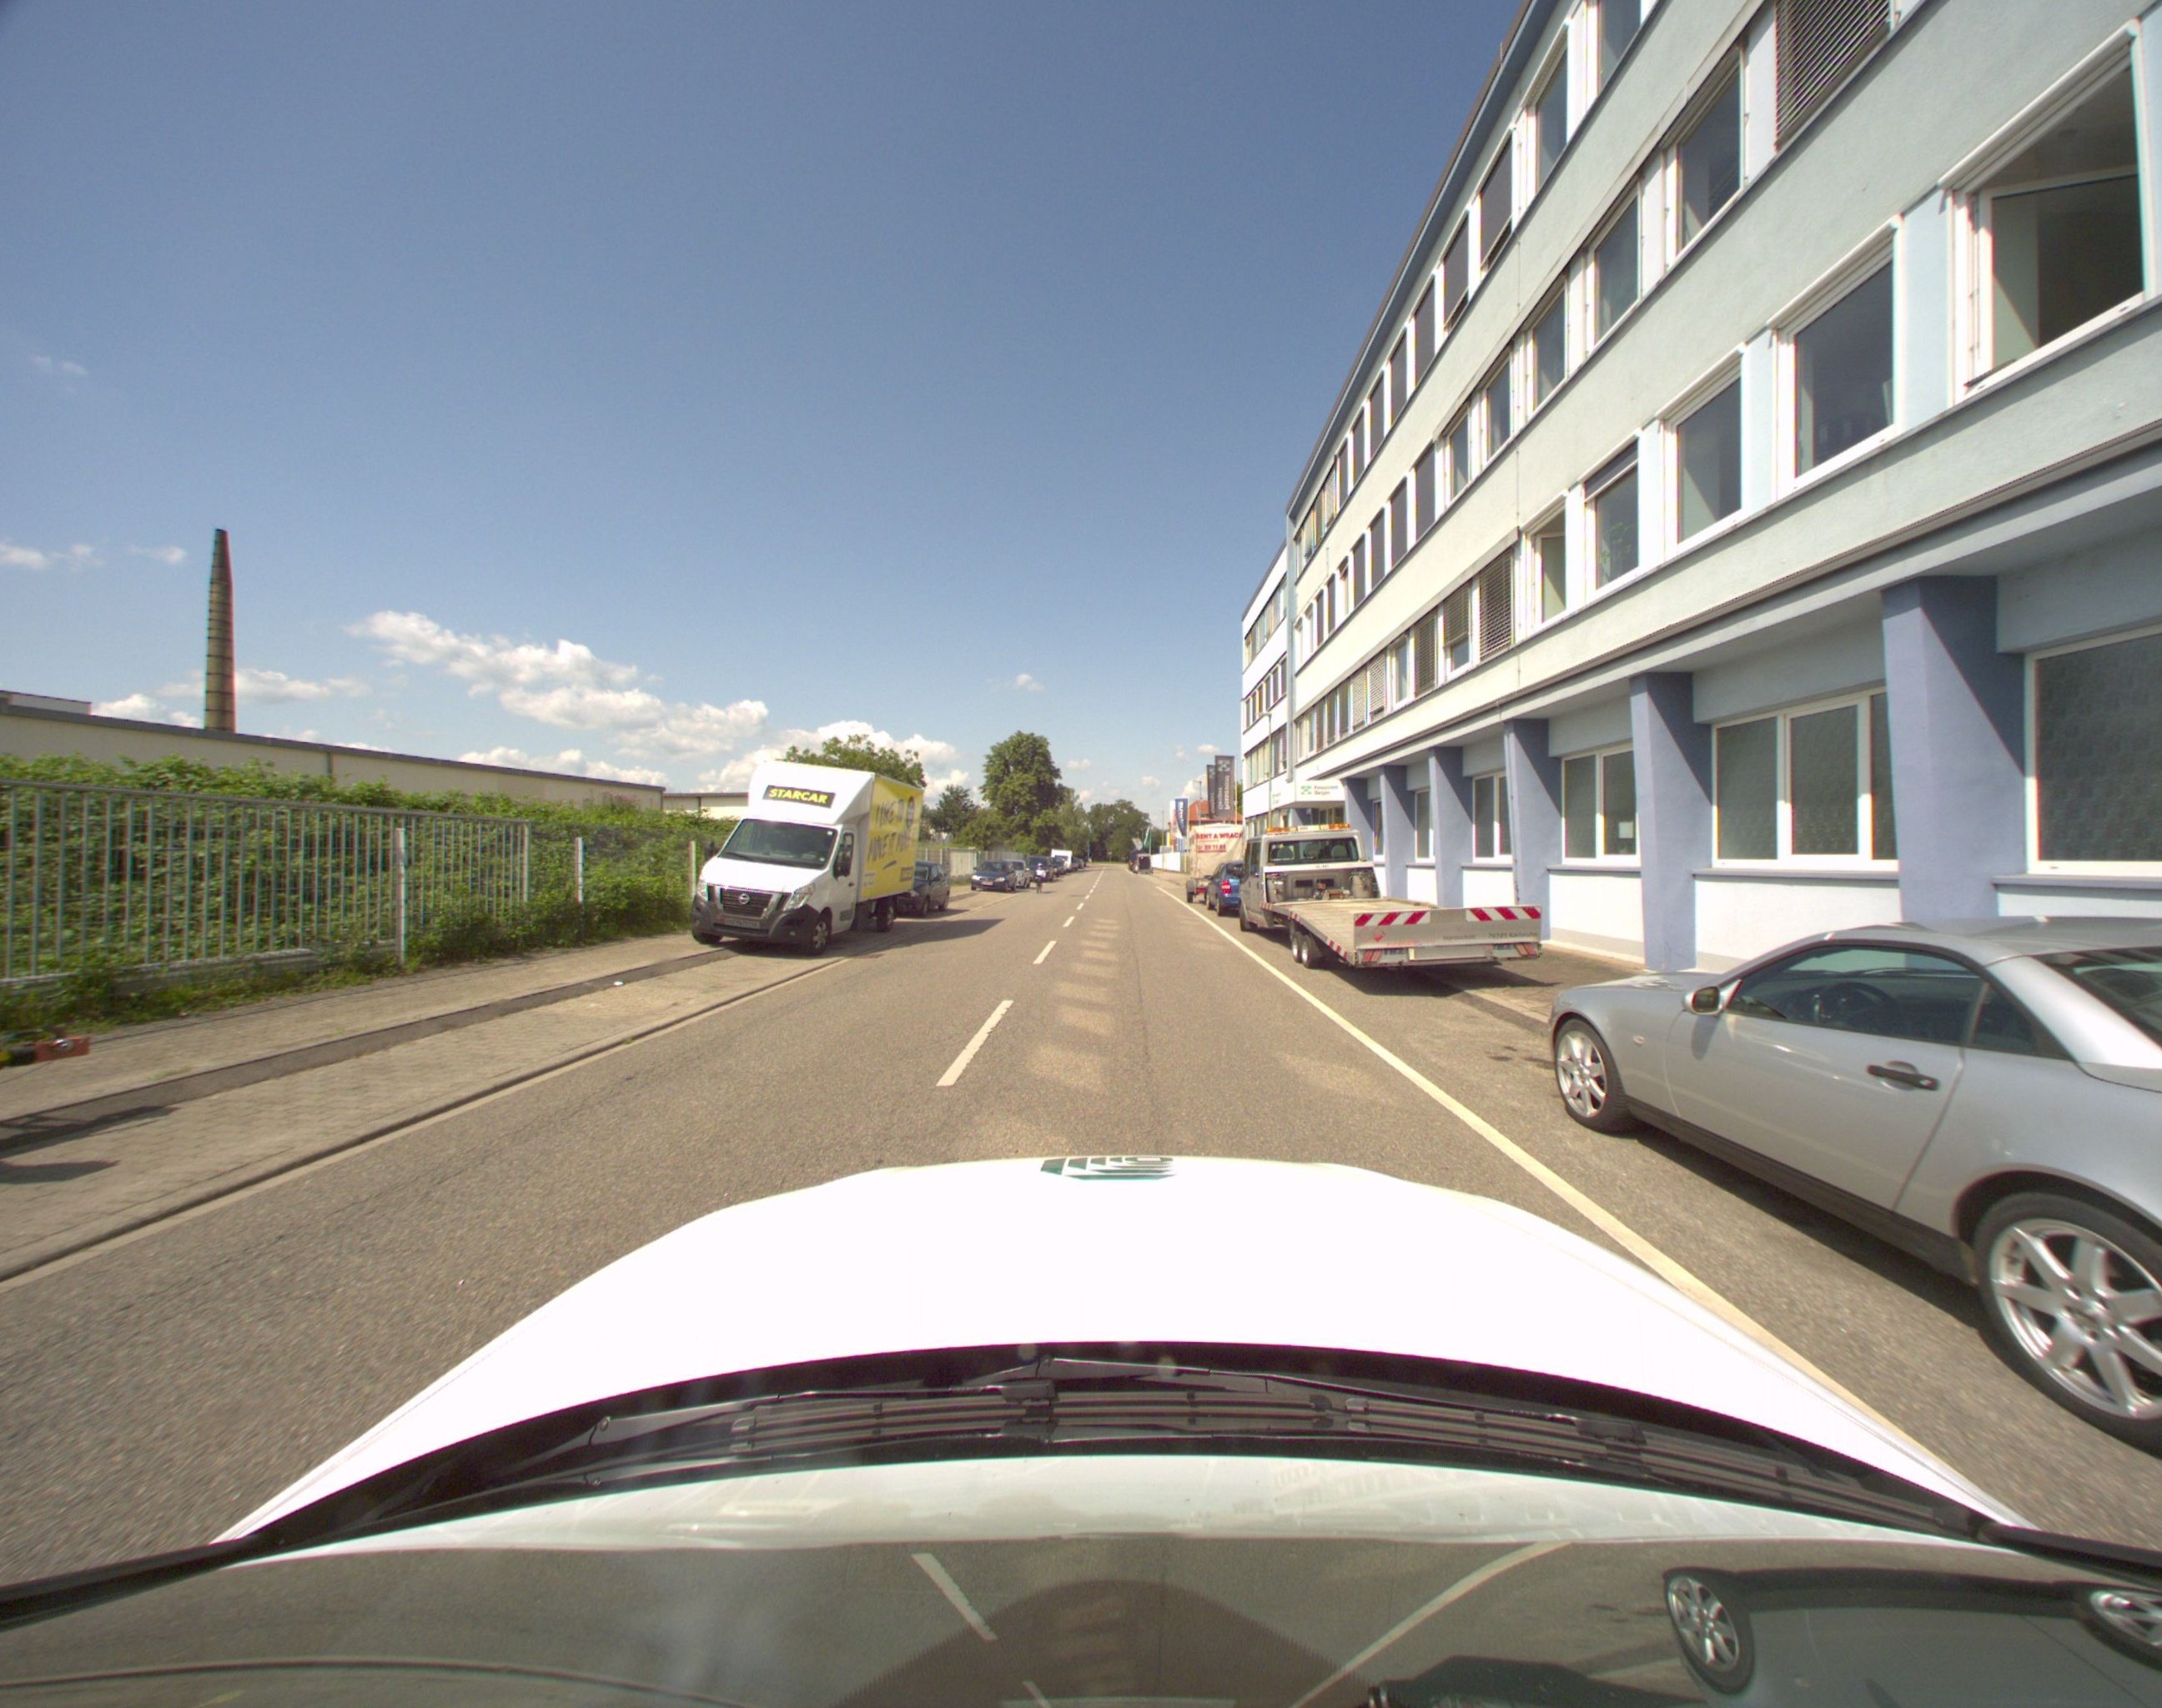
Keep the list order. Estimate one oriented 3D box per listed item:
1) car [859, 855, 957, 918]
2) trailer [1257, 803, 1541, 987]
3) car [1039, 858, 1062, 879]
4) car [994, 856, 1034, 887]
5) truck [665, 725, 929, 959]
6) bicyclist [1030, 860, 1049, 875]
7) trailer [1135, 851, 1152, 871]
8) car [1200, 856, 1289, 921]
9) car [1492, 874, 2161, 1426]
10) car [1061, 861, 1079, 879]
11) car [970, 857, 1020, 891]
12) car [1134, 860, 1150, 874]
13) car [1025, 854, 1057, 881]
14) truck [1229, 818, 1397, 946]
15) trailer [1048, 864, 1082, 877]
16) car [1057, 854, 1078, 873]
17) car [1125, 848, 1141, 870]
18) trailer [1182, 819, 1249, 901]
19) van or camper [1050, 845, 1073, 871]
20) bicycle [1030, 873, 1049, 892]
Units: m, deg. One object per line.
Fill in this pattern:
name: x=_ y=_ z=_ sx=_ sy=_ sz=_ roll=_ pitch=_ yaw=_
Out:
car: x=-4.696 y=0.826 z=22.624 sx=1.613 sy=1.429 sz=3.829 roll=6 pitch=0 yaw=2
trailer: x=4.051 y=0.439 z=11.661 sx=1.965 sy=1.971 sz=5.768 roll=0 pitch=0 yaw=2
car: x=-2.280 y=1.058 z=61.273 sx=1.572 sy=1.512 sz=4.201 roll=1 pitch=0 yaw=0
car: x=-3.476 y=0.902 z=42.667 sx=1.609 sy=1.483 sz=3.711 roll=2 pitch=0 yaw=2
truck: x=-4.911 y=-0.205 z=15.681 sx=2.242 sy=3.361 sz=6.909 roll=4 pitch=0 yaw=1
bicyclist: x=-1.867 y=0.586 z=36.734 sx=0.563 sy=0.631 sz=1.860 roll=1 pitch=0 yaw=5
trailer: x=6.419 y=0.715 z=83.408 sx=1.595 sy=2.037 sz=2.742 roll=1 pitch=0 yaw=1
car: x=4.273 y=0.864 z=21.916 sx=1.711 sy=1.542 sz=4.406 roll=1 pitch=-1 yaw=3
car: x=3.523 y=0.772 z=3.468 sx=1.641 sy=1.246 sz=4.002 roll=0 pitch=0 yaw=2
car: x=-1.144 y=1.658 z=85.647 sx=1.679 sy=1.692 sz=4.442 roll=4 pitch=0 yaw=-1
car: x=-3.946 y=0.885 z=37.739 sx=1.562 sy=1.399 sz=3.803 roll=4 pitch=0 yaw=4
car: x=6.691 y=1.374 z=89.585 sx=1.566 sy=1.507 sz=4.134 roll=0 pitch=0 yaw=2
car: x=-2.669 y=0.907 z=55.591 sx=1.794 sy=1.750 sz=4.714 roll=0 pitch=0 yaw=1
truck: x=4.141 y=0.452 z=15.396 sx=1.956 sy=2.035 sz=4.736 roll=0 pitch=0 yaw=2
trailer: x=-1.312 y=1.423 z=70.636 sx=2.261 sy=0.883 sz=7.138 roll=4 pitch=0 yaw=3
car: x=-1.238 y=0.884 z=79.092 sx=1.820 sy=1.793 sz=4.737 roll=0 pitch=0 yaw=1
car: x=6.803 y=0.640 z=107.141 sx=1.930 sy=2.748 sz=6.156 roll=0 pitch=0 yaw=1
trailer: x=4.492 y=0.187 z=27.910 sx=1.860 sy=2.553 sz=5.078 roll=0 pitch=0 yaw=5
van or camper: x=-2.200 y=0.486 z=94.558 sx=2.255 sy=2.803 sz=6.833 roll=3 pitch=0 yaw=0
bicycle: x=-1.868 y=1.274 z=36.755 sx=0.585 sy=0.741 sz=2.128 roll=0 pitch=0 yaw=5
